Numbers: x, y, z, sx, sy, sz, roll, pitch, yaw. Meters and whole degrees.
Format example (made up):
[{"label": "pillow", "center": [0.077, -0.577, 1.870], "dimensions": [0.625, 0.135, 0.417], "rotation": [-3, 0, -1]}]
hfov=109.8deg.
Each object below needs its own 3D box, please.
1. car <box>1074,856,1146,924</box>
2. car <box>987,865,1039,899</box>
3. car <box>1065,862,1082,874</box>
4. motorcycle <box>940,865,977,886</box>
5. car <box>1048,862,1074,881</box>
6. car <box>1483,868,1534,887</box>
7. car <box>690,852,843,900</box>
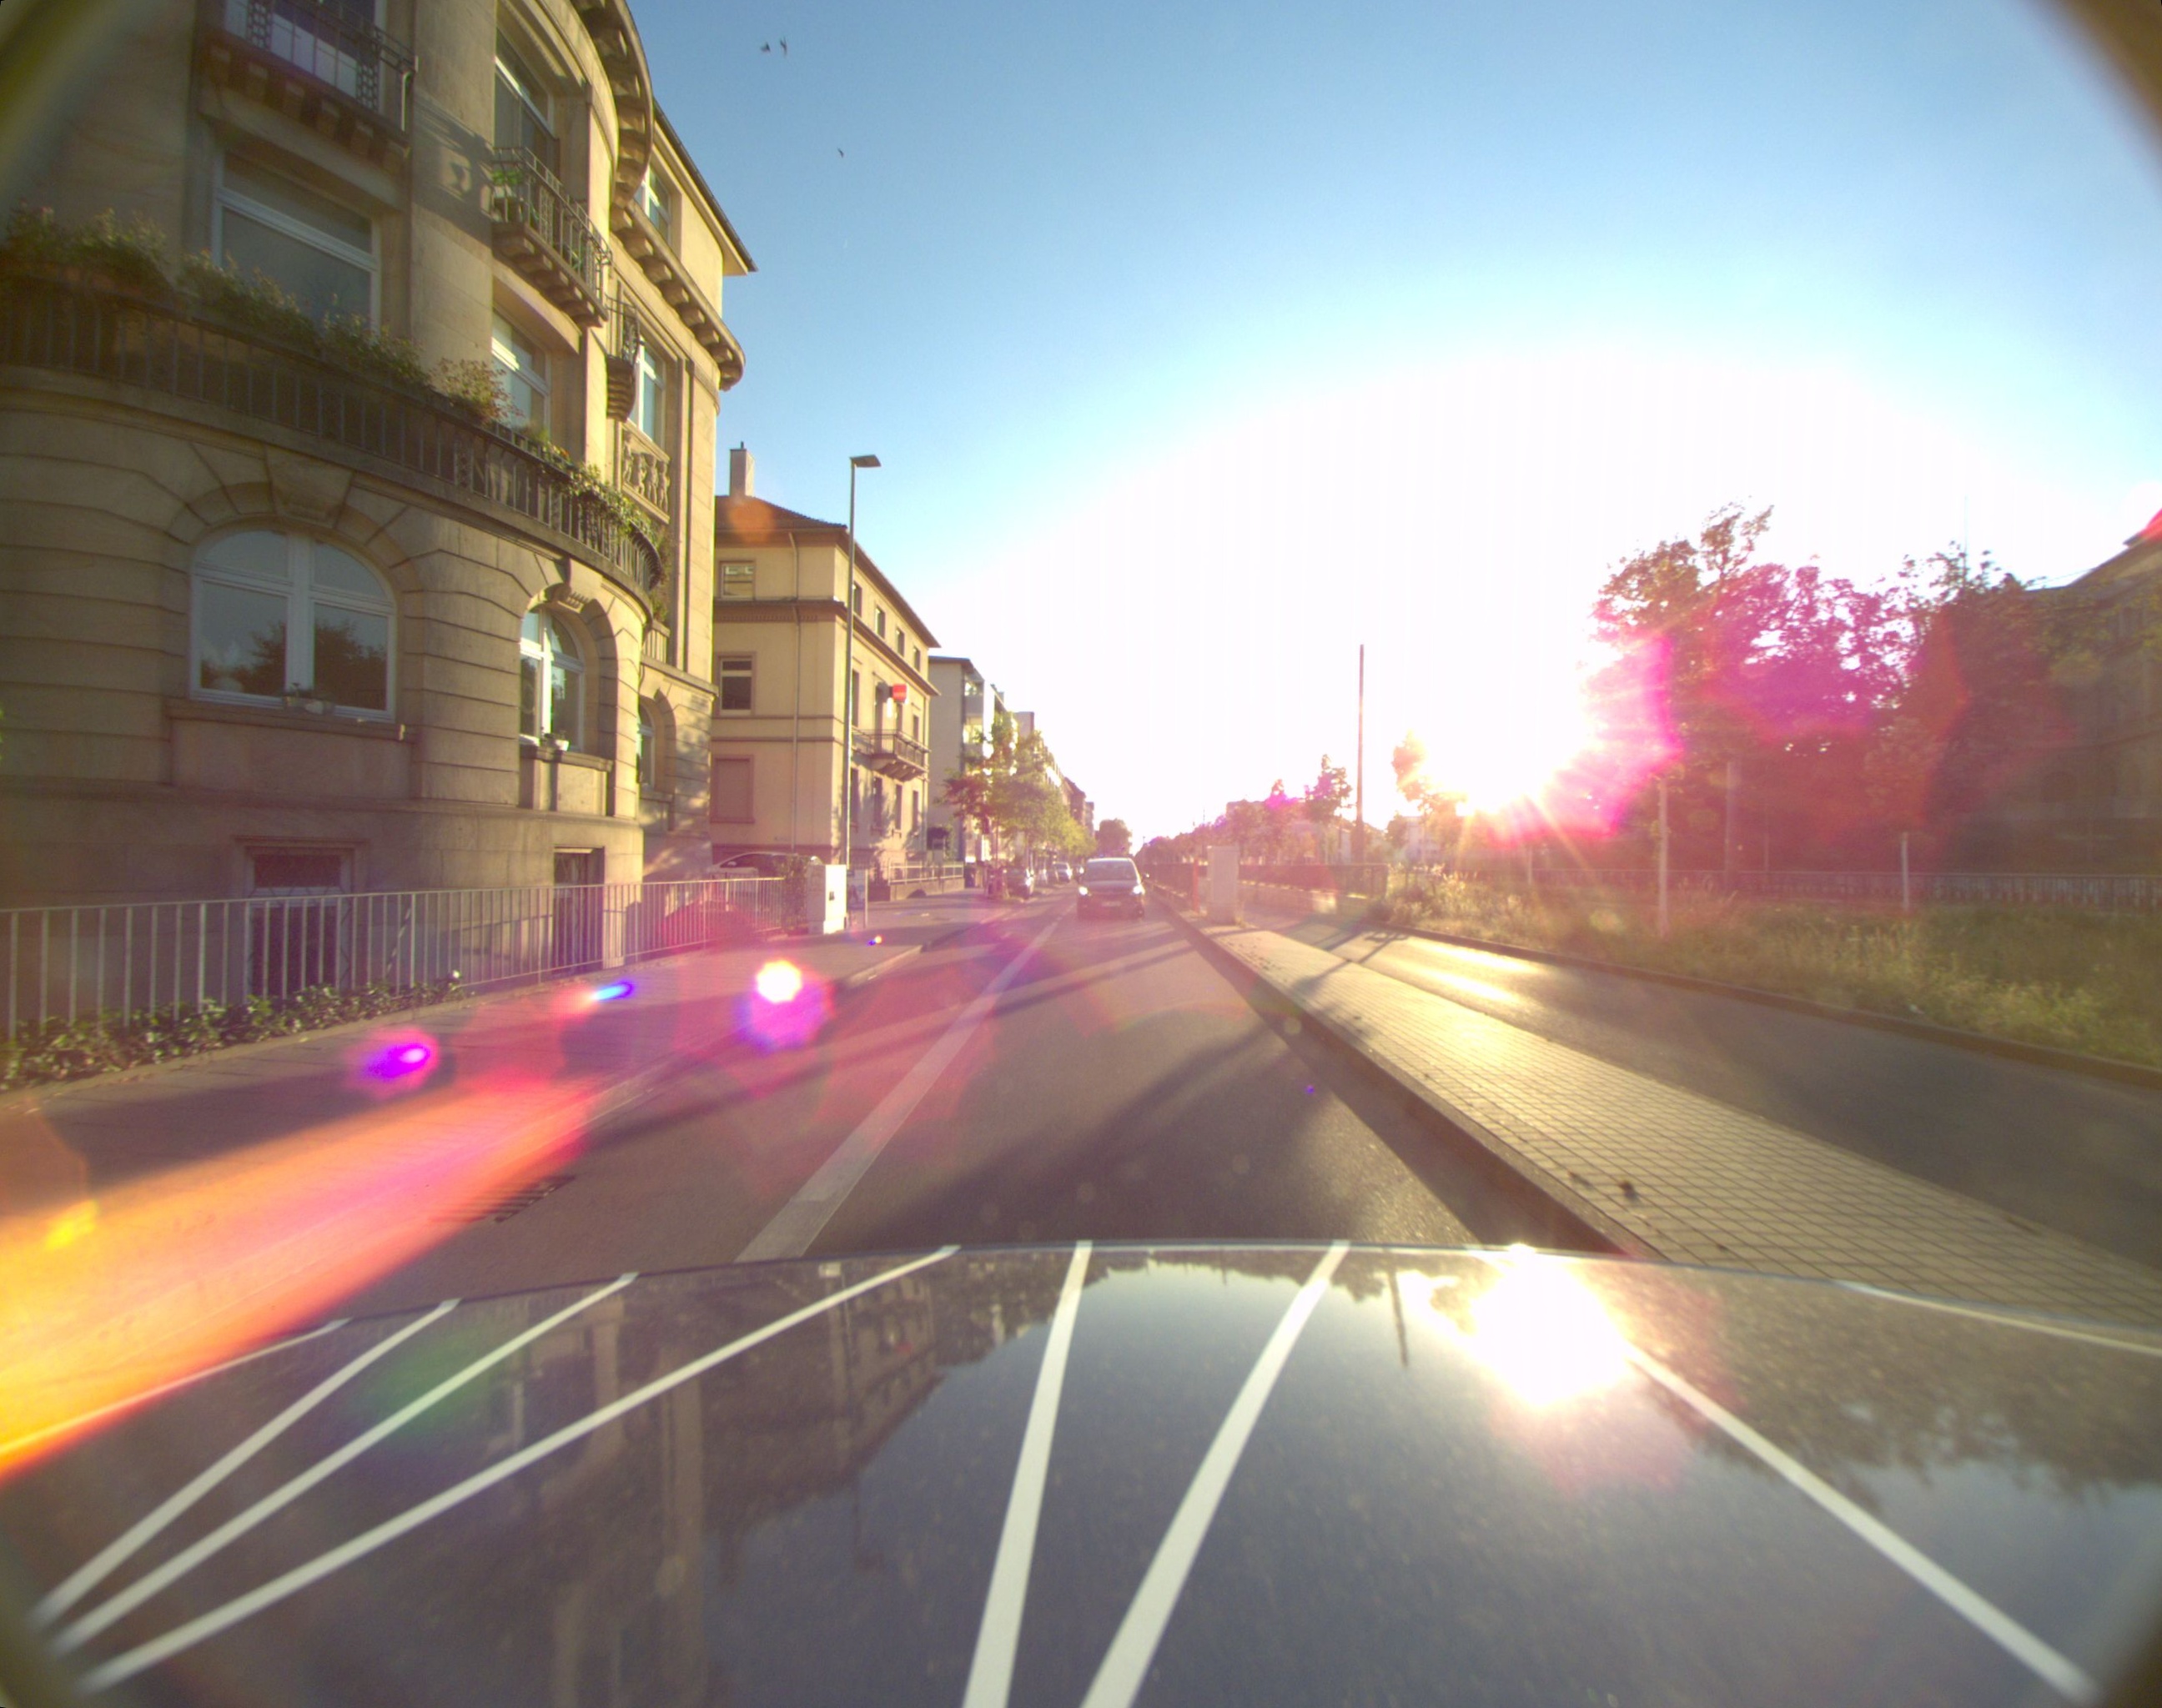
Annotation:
[{"label": "car", "center": [0.836, 0.903, 21.420], "dimensions": [1.770, 1.649, 4.853], "rotation": [1, 0, 3]}, {"label": "car", "center": [-2.944, 1.170, 33.547], "dimensions": [1.882, 1.394, 4.101], "rotation": [0, 0, 1]}, {"label": "car", "center": [-0.893, 1.682, 92.366], "dimensions": [1.937, 1.472, 4.101], "rotation": [0, 0, 1]}, {"label": "motorcycle", "center": [-6.582, 1.162, 40.871], "dimensions": [1.848, 1.090, 0.576], "rotation": [0, 0, 7]}, {"label": "car", "center": [-1.590, 1.440, 62.605], "dimensions": [1.937, 1.472, 4.101], "rotation": [0, 0, 1]}, {"label": "car", "center": [34.919, 1.942, 62.215], "dimensions": [1.936, 1.472, 4.525], "rotation": [-1, -2, 5]}, {"label": "car", "center": [-10.068, 0.689, 24.531], "dimensions": [4.096, 1.472, 1.939], "rotation": [0, 0, 2]}]
